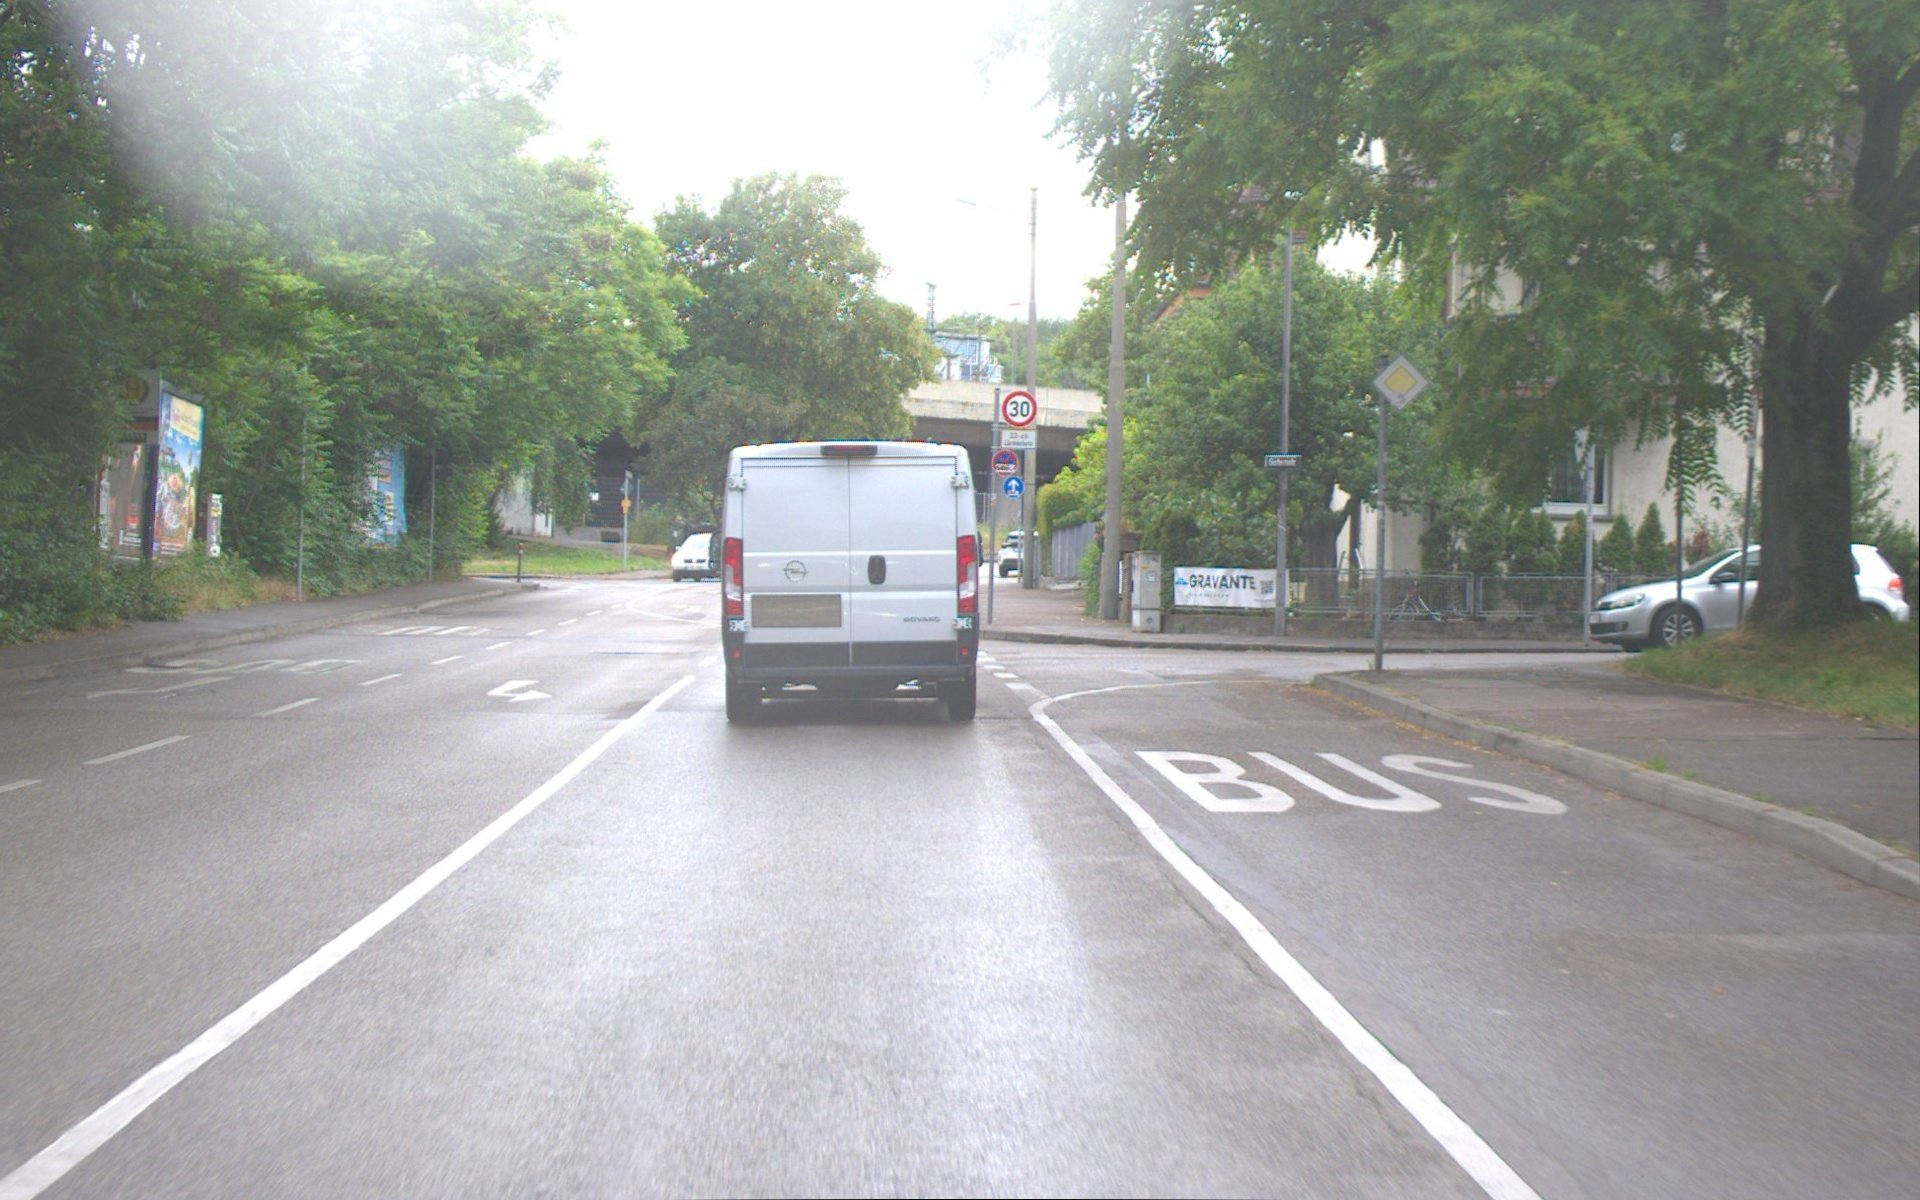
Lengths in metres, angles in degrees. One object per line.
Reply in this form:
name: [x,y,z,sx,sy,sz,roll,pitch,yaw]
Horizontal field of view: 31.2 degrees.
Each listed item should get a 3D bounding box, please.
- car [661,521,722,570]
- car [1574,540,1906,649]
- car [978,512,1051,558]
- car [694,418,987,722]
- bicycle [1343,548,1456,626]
car: [-8.069,-1.651,103.517,1.654,1.412,3.936,-1,2,-2]
car: [10.338,-0.067,45.718,3.986,1.418,1.704,0,-1,-4]
car: [1.902,-2.244,118.928,1.766,1.505,3.753,3,1,13]
car: [-1.115,-0.249,29.075,2.146,2.276,5.063,2,0,-5]
bicycle: [6.321,-0.187,49.486,1.571,1.111,0.457,0,1,3]
